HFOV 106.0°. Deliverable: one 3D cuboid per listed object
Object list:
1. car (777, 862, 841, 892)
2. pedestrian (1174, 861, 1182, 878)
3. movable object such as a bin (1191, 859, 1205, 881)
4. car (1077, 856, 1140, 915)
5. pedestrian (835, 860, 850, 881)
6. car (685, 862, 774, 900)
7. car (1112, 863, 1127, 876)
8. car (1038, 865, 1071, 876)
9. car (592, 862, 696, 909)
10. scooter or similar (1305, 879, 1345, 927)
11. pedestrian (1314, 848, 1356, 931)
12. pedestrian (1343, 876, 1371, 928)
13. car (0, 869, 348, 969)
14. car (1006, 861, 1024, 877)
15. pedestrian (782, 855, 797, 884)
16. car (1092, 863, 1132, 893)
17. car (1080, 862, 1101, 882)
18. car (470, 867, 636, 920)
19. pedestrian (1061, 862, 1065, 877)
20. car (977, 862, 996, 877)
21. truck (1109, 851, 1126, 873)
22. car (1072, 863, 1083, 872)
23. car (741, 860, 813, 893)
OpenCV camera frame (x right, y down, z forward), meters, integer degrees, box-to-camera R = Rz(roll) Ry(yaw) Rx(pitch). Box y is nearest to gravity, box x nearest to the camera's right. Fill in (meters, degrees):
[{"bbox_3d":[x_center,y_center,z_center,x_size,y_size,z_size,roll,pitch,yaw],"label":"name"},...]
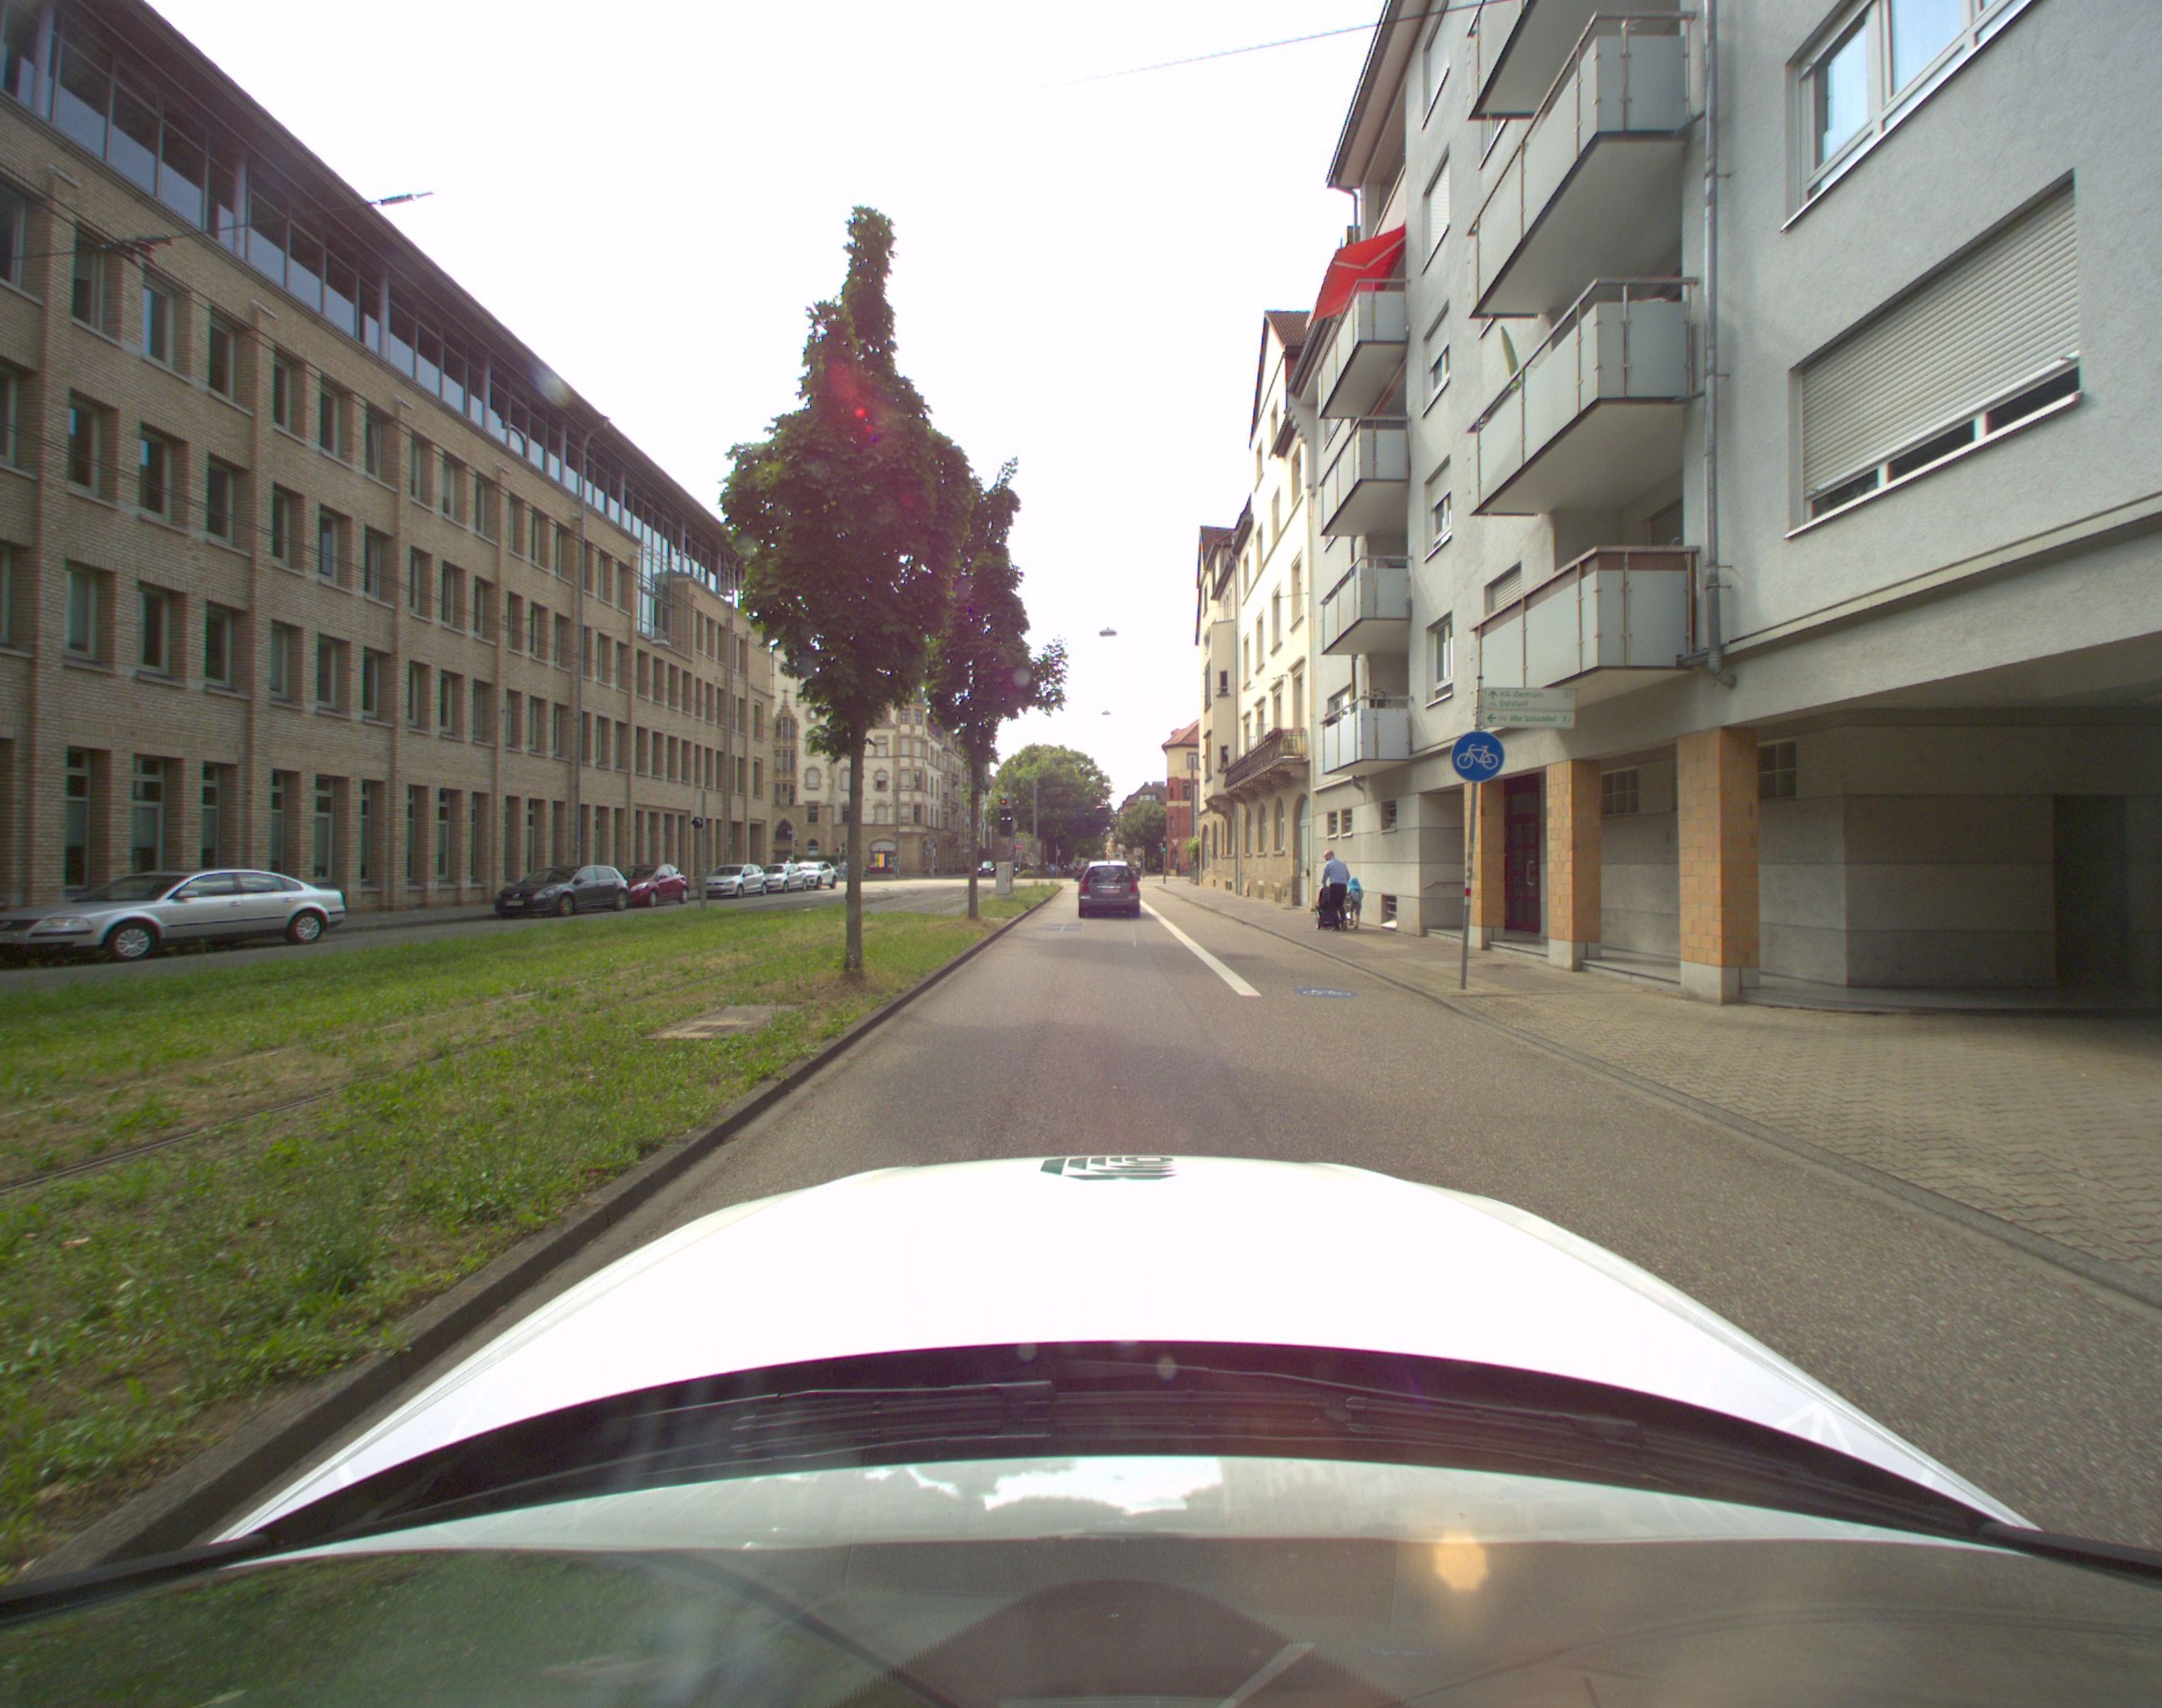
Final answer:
[{"bbox_3d":[-14.885,1.221,44.860,1.925,1.535,4.260,0,-1,2],"label":"car"},{"bbox_3d":[9.850,1.563,82.837,0.864,1.657,0.737,0,-1,6],"label":"pedestrian"},{"bbox_3d":[8.088,1.096,56.249,0.714,1.472,0.980,-1,-1,-7],"label":"movable object such as a bin"},{"bbox_3d":[0.824,0.901,24.260,1.716,1.605,3.679,-1,-1,2],"label":"car"},{"bbox_3d":[-20.206,1.411,69.037,1.029,1.722,0.767,1,-1,-43],"label":"pedestrian"},{"bbox_3d":[-15.020,1.123,35.075,1.843,1.531,4.212,0,-1,2],"label":"car"},{"bbox_3d":[4.822,1.892,101.250,1.744,1.633,3.504,0,-1,5],"label":"car"},{"bbox_3d":[-3.127,1.924,96.113,1.984,1.339,3.955,1,-1,-38],"label":"car"},{"bbox_3d":[-15.169,1.057,28.473,1.576,1.531,3.551,0,-1,2],"label":"car"},{"bbox_3d":[5.529,1.096,18.483,0.590,1.002,0.906,-4,-1,2],"label":"scooter or similar"},{"bbox_3d":[5.506,0.765,17.691,0.618,1.739,0.878,-2,-1,2],"label":"pedestrian"},{"bbox_3d":[6.096,1.054,18.001,0.454,1.135,0.494,0,-1,2],"label":"pedestrian"},{"bbox_3d":[-15.470,0.970,13.903,1.708,1.396,4.487,0,-1,2],"label":"car"},{"bbox_3d":[-7.659,1.761,94.914,1.989,1.728,3.994,-1,-1,-4],"label":"car"},{"bbox_3d":[-18.017,0.948,50.314,0.763,1.795,0.952,0,-1,-24],"label":"pedestrian"},{"bbox_3d":[1.603,1.216,42.210,1.972,1.442,4.002,0,-1,2],"label":"car"},{"bbox_3d":[0.857,1.535,71.103,1.716,1.706,3.679,-1,-1,2],"label":"car"},{"bbox_3d":[-15.246,1.089,23.843,1.925,1.396,4.241,0,-1,2],"label":"car"},{"bbox_3d":[-2.022,1.735,91.390,0.492,1.725,0.653,0,-1,-3],"label":"pedestrian"},{"bbox_3d":[-10.849,1.738,93.480,1.989,1.618,3.994,-1,-1,-4],"label":"car"},{"bbox_3d":[5.131,1.136,114.316,2.113,2.970,4.005,-1,-1,5],"label":"truck"},{"bbox_3d":[-0.572,2.300,138.778,1.745,1.517,3.501,0,-1,2],"label":"car"},{"bbox_3d":[-15.022,1.094,40.475,1.925,1.531,4.016,0,-1,2],"label":"car"}]
